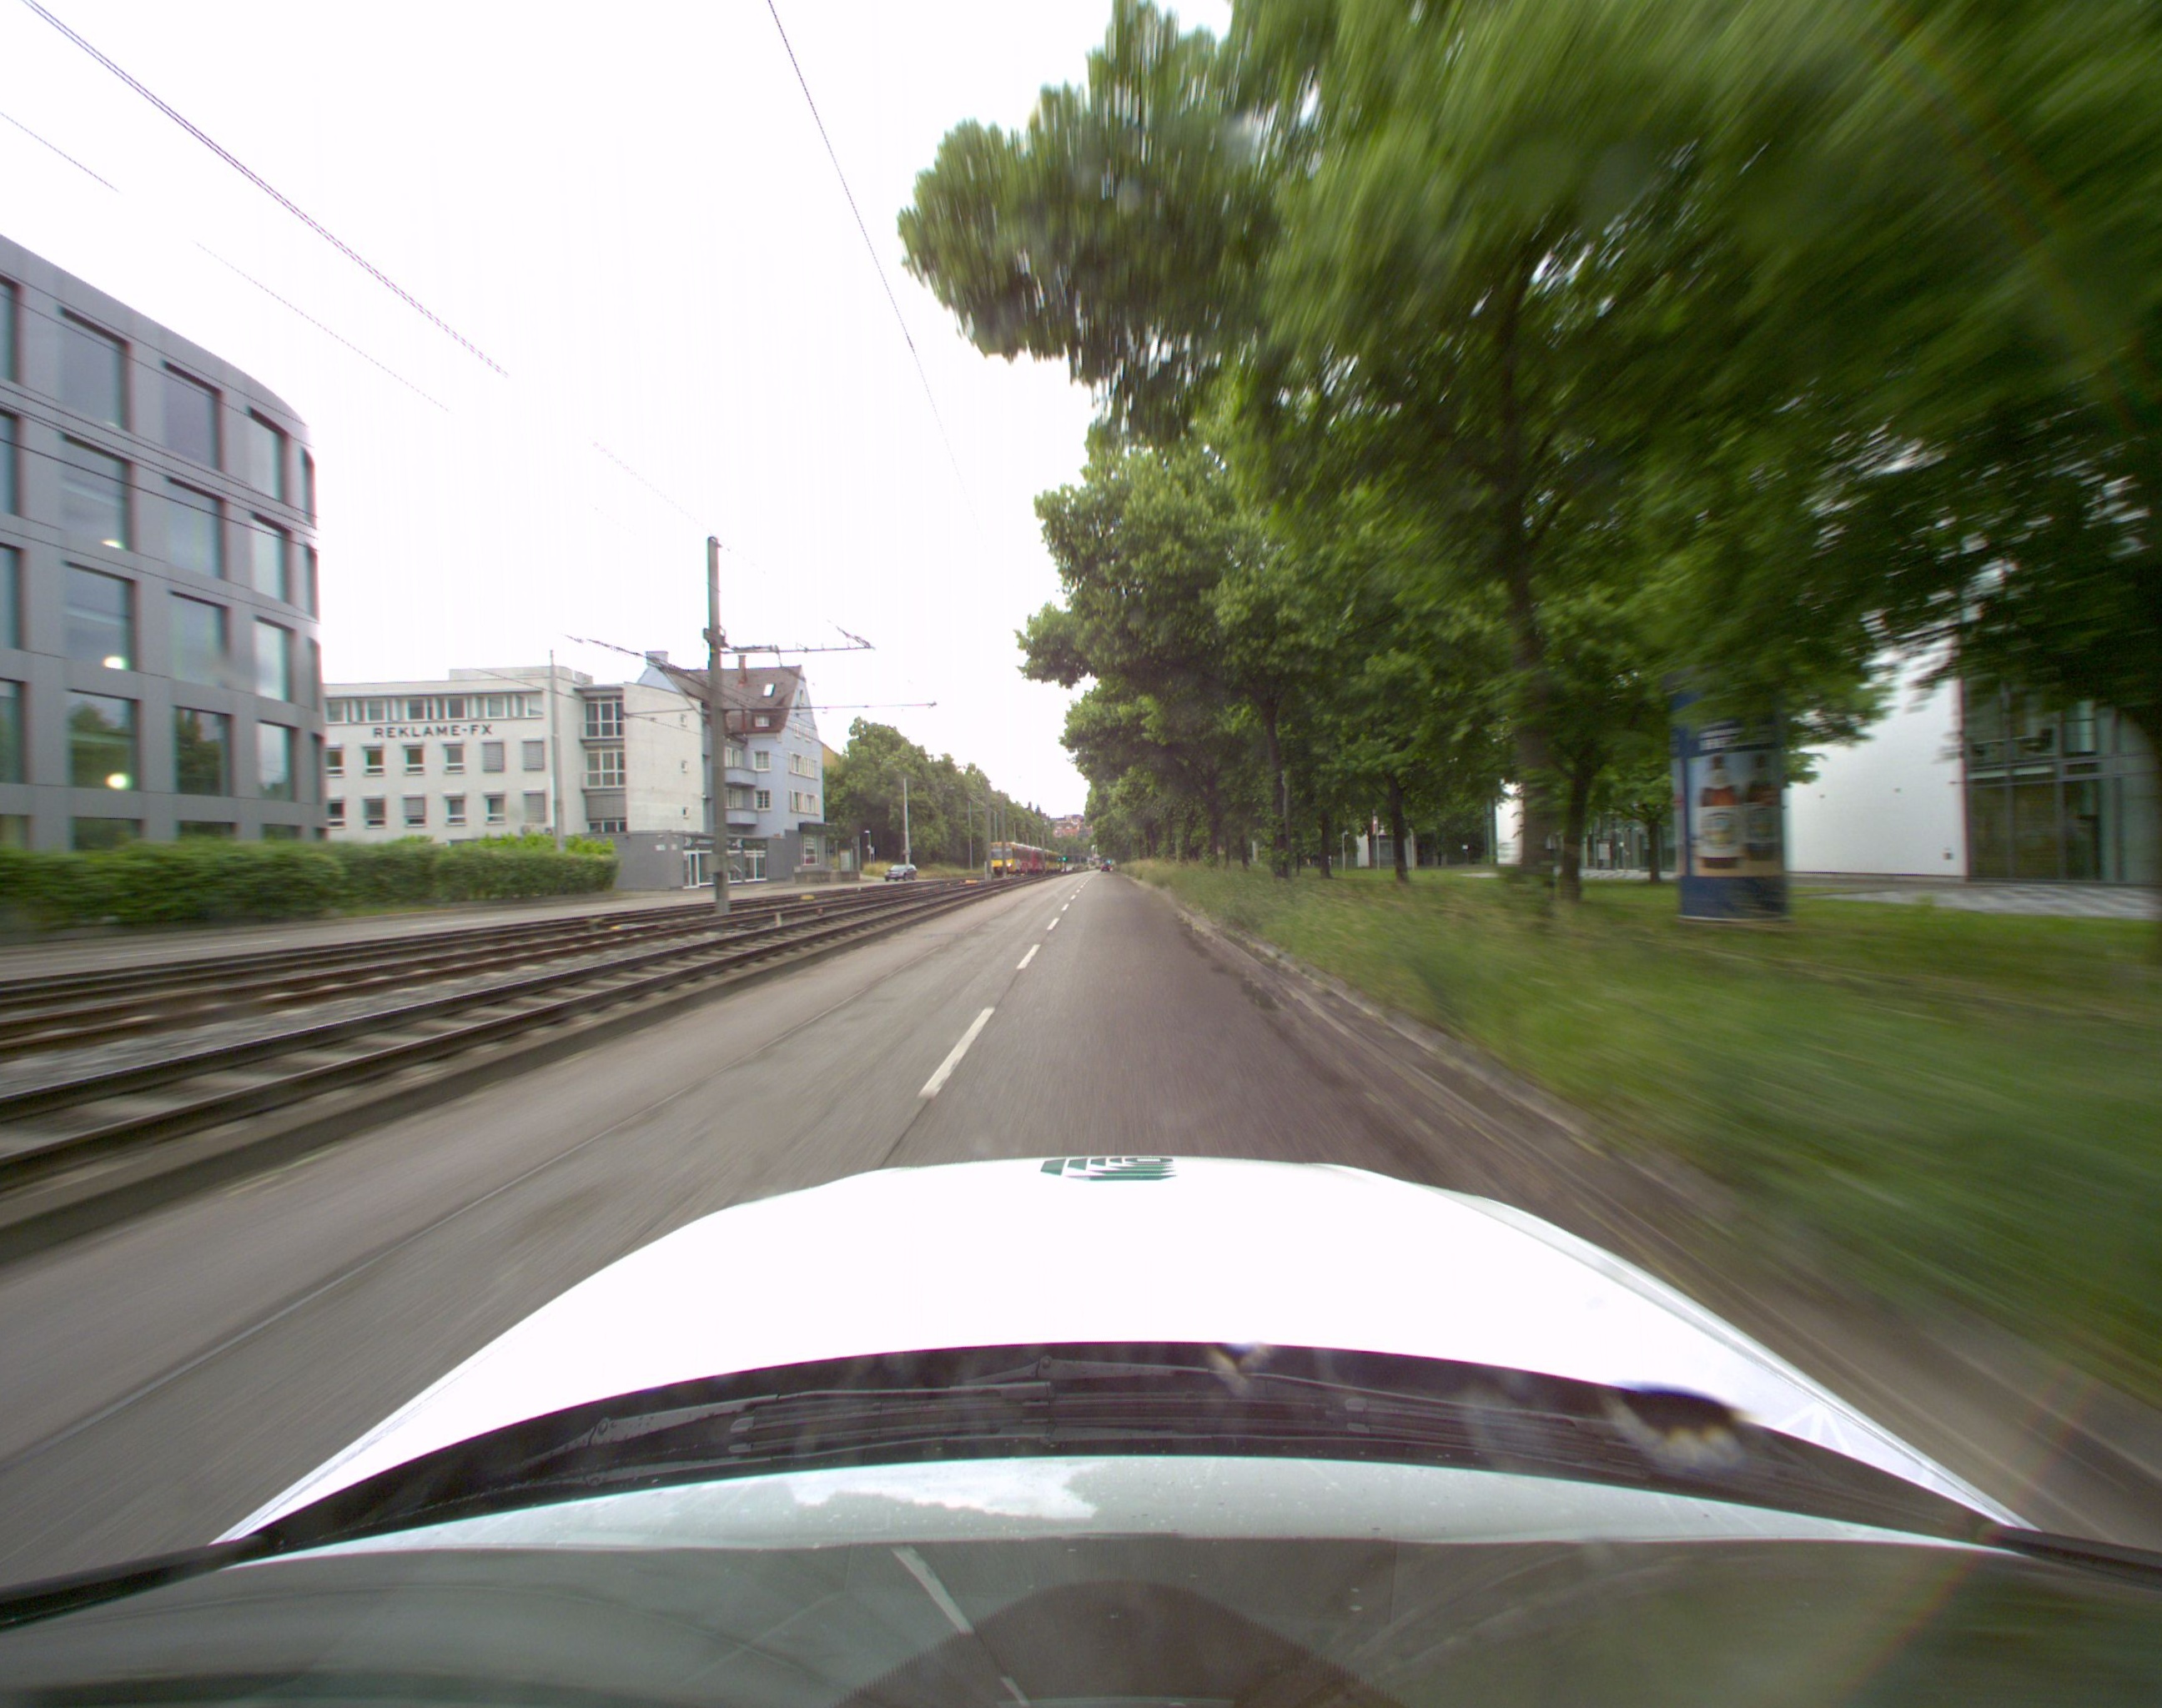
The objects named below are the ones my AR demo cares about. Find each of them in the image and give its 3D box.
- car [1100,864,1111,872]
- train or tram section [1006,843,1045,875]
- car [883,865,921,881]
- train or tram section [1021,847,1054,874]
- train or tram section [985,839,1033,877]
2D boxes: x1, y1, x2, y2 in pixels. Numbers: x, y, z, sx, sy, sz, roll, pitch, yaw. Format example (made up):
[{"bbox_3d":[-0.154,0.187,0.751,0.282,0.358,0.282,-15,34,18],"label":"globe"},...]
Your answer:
[{"bbox_3d":[4.673,2.680,152.642,1.975,1.440,4.475,-1,0,2],"label":"car"},{"bbox_3d":[-7.125,0.760,106.260,3.201,3.796,14.799,-1,-1,3],"label":"train or tram section"},{"bbox_3d":[-15.235,1.620,69.457,1.894,1.325,4.829,-1,-1,3],"label":"car"},{"bbox_3d":[-6.326,1.051,121.087,3.201,3.796,14.799,-1,-1,3],"label":"train or tram section"},{"bbox_3d":[-7.915,0.538,91.442,3.201,3.796,14.799,-1,-1,3],"label":"train or tram section"}]
